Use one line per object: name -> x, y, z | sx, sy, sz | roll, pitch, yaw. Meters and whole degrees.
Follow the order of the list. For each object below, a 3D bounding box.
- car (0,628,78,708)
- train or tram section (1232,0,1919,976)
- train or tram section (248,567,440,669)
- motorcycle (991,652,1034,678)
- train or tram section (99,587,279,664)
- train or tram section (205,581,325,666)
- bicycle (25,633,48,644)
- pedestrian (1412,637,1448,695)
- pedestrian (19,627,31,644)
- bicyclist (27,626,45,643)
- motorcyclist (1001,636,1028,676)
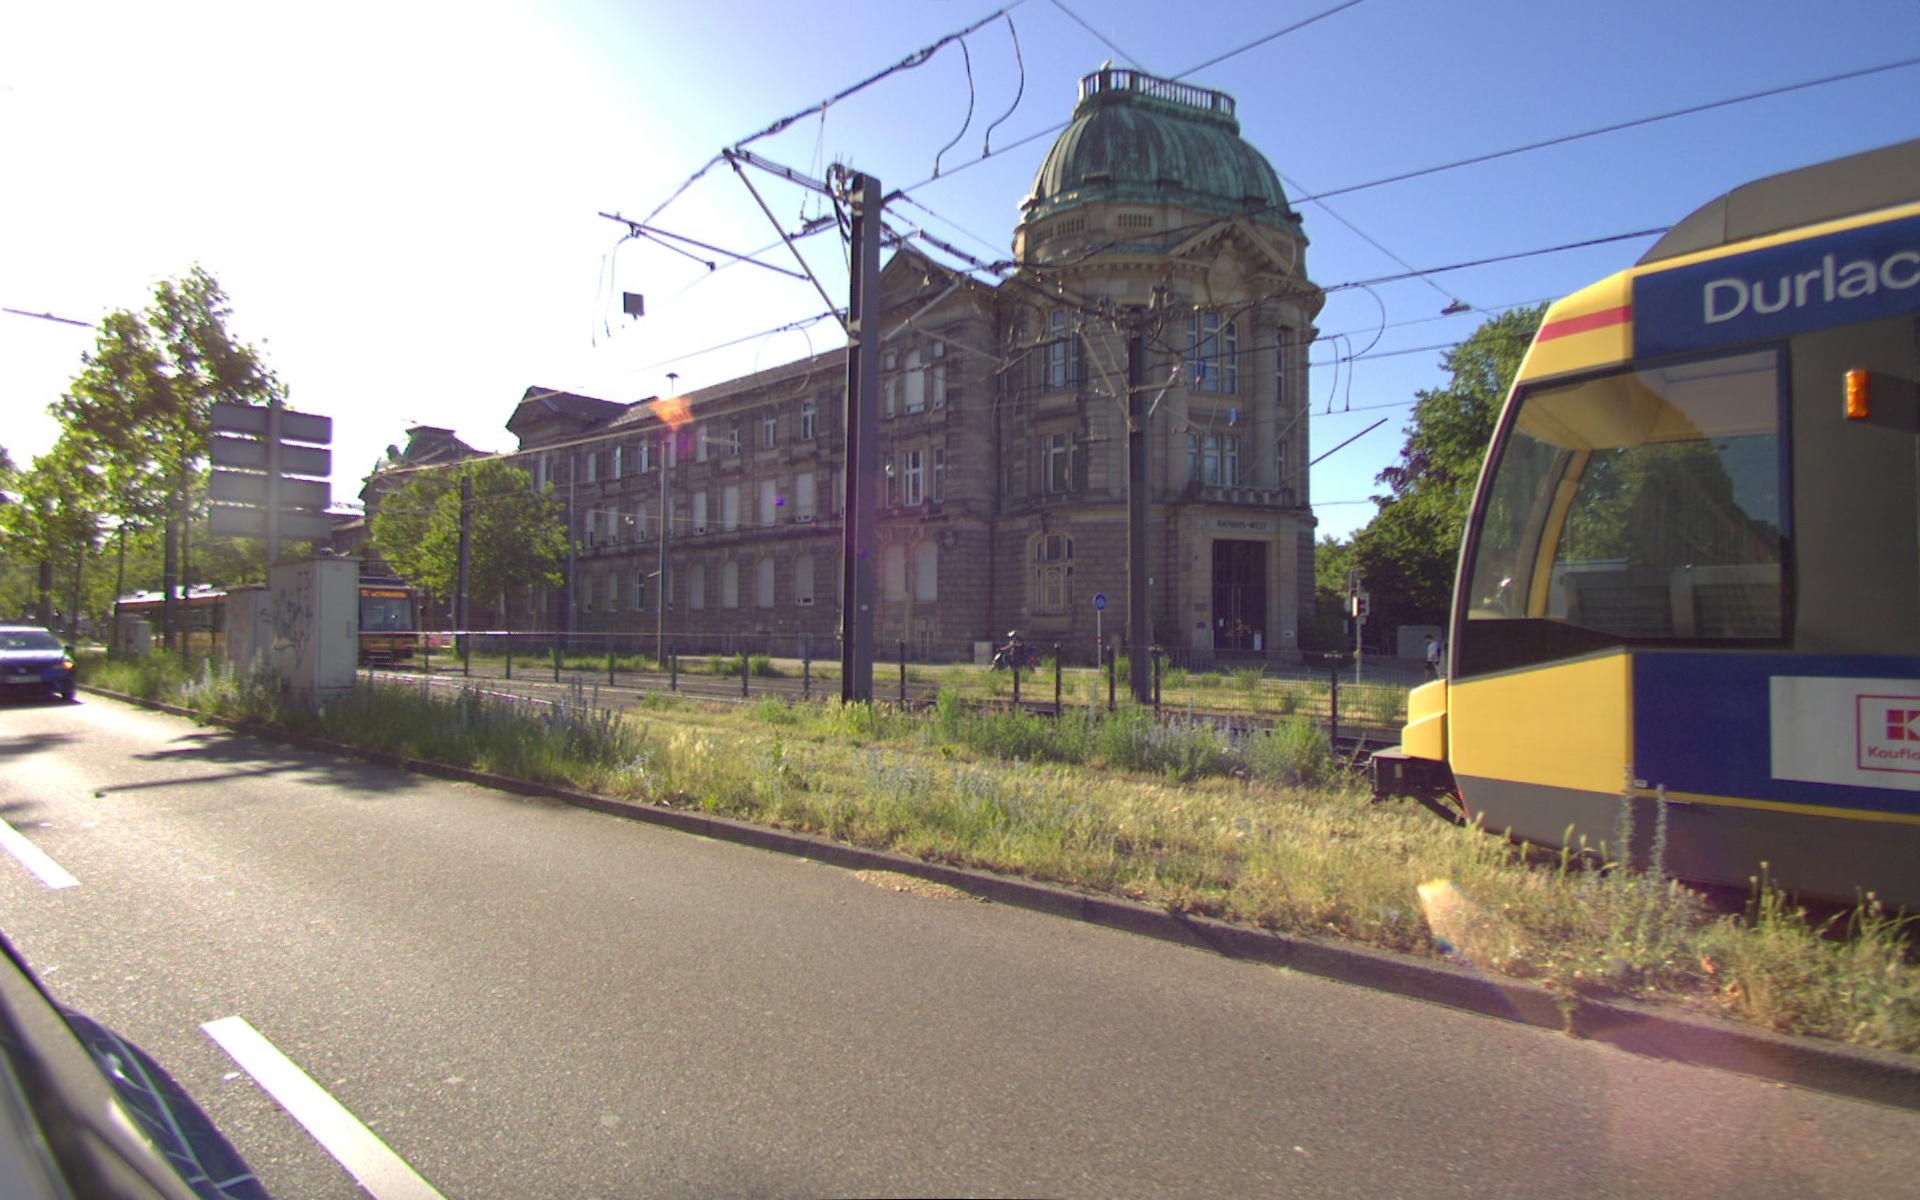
car -> -18.903, 1.310, 20.039 | 3.868, 1.459, 1.754 | -2, -2, 43
train or tram section -> 7.795, -0.643, 1.847 | 14.267, 3.841, 2.898 | -2, -1, 42
train or tram section -> -24.362, 0.795, 39.615 | 11.276, 3.510, 2.931 | -2, -2, 40
motorcycle -> 1.679, 2.096, 32.607 | 1.522, 0.789, 0.364 | -2, -1, 44
train or tram section -> -41.573, 1.448, 53.928 | 21.197, 3.510, 2.934 | -2, -2, 40
train or tram section -> -31.126, 1.070, 45.242 | 6.055, 3.510, 2.926 | -2, -2, 40
bicycle -> -90.821, 3.755, 99.505 | 0.538, 1.049, 1.658 | 0, 0, 10
pedestrian -> 15.018, 2.091, 32.331 | 0.917, 1.786, 0.754 | -1, -1, 19
pedestrian -> -95.104, 3.628, 102.895 | 0.692, 1.758, 0.592 | -1, -1, 9
bicyclist -> -90.867, 3.428, 99.507 | 0.826, 1.656, 0.966 | -1, -1, 9
motorcyclist -> 1.741, 1.795, 32.548 | 0.508, 1.267, 0.692 | 0, -1, -45
